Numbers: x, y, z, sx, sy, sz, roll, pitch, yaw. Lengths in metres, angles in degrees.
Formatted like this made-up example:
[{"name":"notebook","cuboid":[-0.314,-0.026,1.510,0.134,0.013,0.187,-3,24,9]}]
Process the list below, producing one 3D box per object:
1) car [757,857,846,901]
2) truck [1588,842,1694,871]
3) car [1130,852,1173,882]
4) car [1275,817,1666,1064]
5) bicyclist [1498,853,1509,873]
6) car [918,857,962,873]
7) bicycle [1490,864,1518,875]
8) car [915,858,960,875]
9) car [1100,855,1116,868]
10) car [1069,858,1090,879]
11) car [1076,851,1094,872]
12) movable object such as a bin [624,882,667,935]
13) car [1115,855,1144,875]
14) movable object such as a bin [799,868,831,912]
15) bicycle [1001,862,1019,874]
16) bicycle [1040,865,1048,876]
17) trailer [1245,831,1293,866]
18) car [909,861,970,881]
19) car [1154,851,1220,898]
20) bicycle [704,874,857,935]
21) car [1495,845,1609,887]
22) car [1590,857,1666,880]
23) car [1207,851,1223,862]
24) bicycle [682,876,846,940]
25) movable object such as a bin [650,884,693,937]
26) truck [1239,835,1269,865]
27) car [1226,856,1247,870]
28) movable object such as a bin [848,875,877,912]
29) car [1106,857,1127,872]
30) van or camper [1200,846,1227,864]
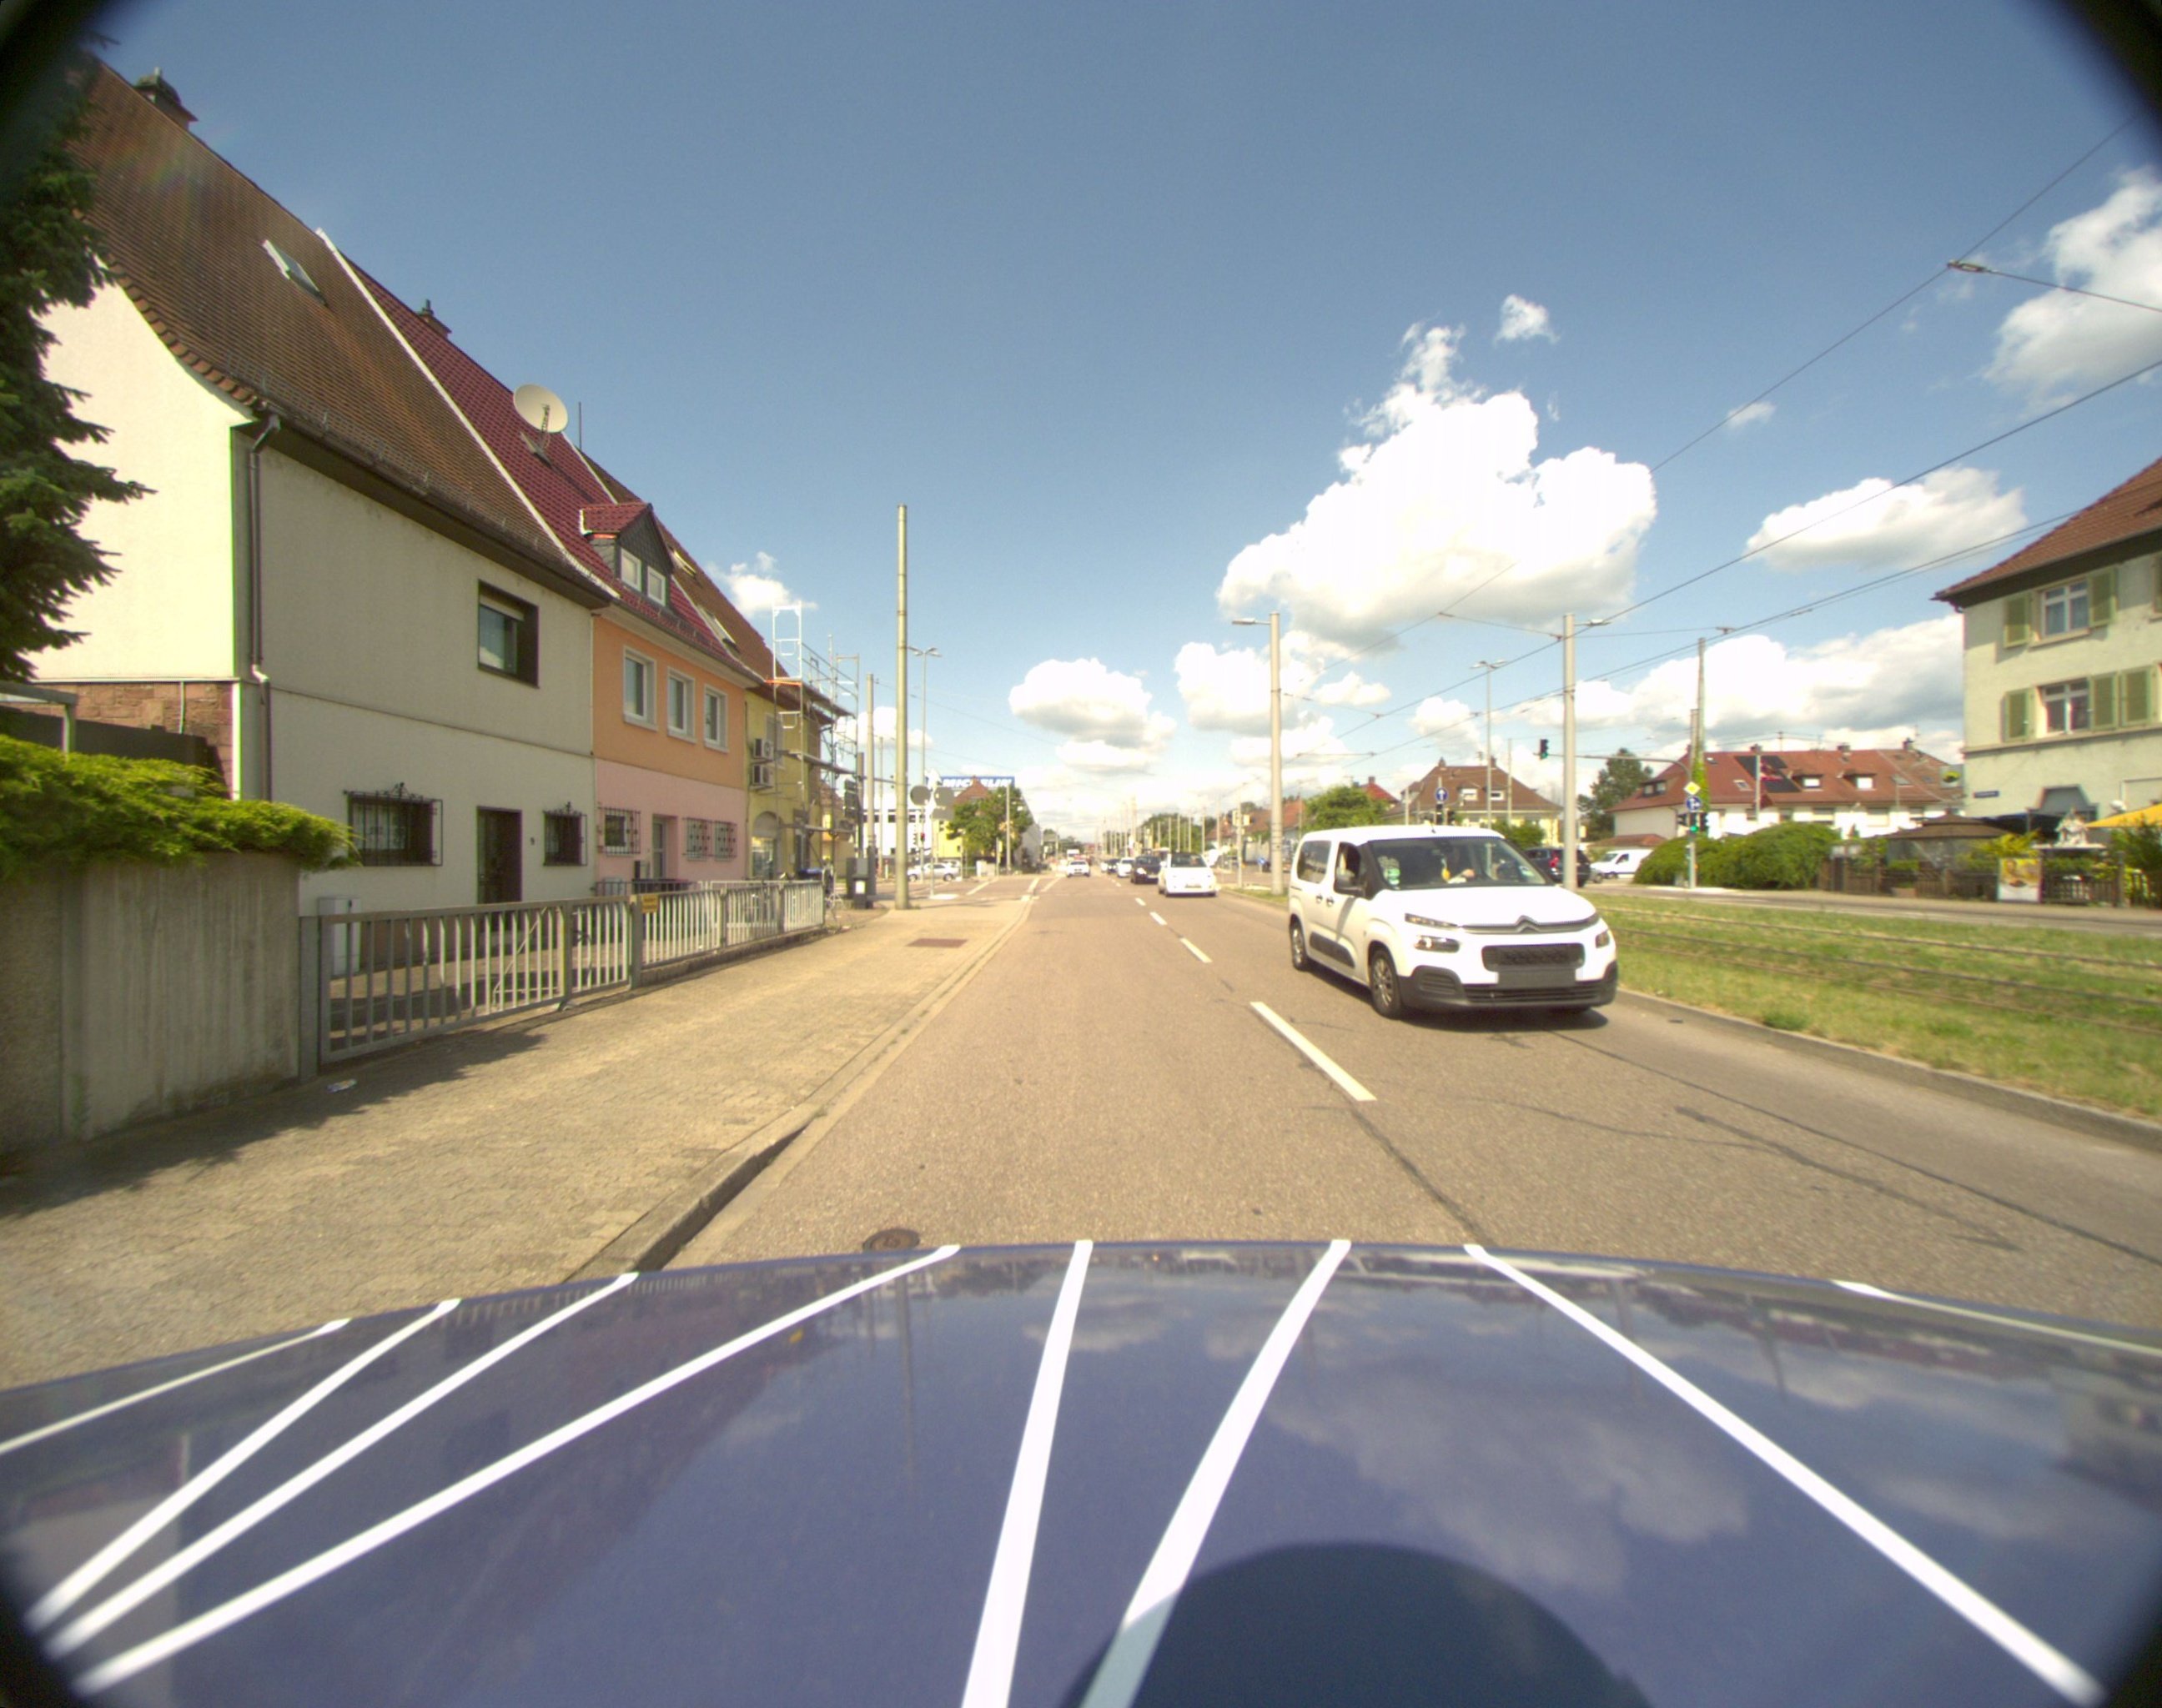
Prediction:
[{"name":"car","cuboid":[-11.224,0.950,30.831,1.998,1.587,4.131,-2,0,1]},{"name":"truck","cuboid":[40.330,0.171,54.816,6.199,1.910,1.690,-2,1,3]},{"name":"car","cuboid":[3.580,0.651,39.020,1.680,1.414,3.557,-2,0,-3]},{"name":"car","cuboid":[3.482,0.638,7.878,1.799,1.804,4.329,-2,0,0]},{"name":"bicyclist","cuboid":[32.470,0.684,58.408,0.501,1.489,0.602,-2,1,2]},{"name":"car","cuboid":[-13.996,1.097,75.685,4.118,1.587,1.799,-1,0,-6]},{"name":"bicycle","cuboid":[32.521,1.190,58.410,1.808,0.830,0.602,-2,1,2]},{"name":"car","cuboid":[-13.763,1.208,73.108,4.118,1.587,1.799,-1,0,-6]},{"name":"car","cuboid":[3.253,0.876,91.548,1.698,1.350,4.498,-2,0,-1]},{"name":"car","cuboid":[-0.168,1.161,63.409,1.664,1.564,3.999,-2,0,-1]},{"name":"car","cuboid":[0.423,0.797,82.051,1.787,2.134,5.168,-2,0,-1]},{"name":"movable object such as a bin","cuboid":[-8.117,1.007,14.169,0.469,0.941,0.558,0,1,0]},{"name":"car","cuboid":[3.522,0.778,56.027,1.698,1.350,4.498,-2,0,-1]},{"name":"movable object such as a bin","cuboid":[-6.966,0.926,19.931,0.512,1.099,0.855,-1,1,1]},{"name":"bicycle","cuboid":[-6.707,1.304,71.838,0.462,1.013,1.759,-1,1,40]},{"name":"bicycle","cuboid":[-3.793,1.653,77.162,0.652,1.111,1.587,-2,1,-6]},{"name":"trailer","cuboid":[22.549,-0.551,91.957,2.605,3.798,12.838,2,-1,0]},{"name":"car","cuboid":[-10.951,1.302,58.696,4.465,1.389,1.724,-1,0,-15]},{"name":"car","cuboid":[3.658,0.672,26.752,1.680,1.495,3.392,-2,0,-3]},{"name":"bicycle","cuboid":[-5.827,0.976,14.815,2.668,1.099,0.786,1,1,0]},{"name":"car","cuboid":[21.006,0.483,34.170,2.020,1.702,4.936,0,0,-1]},{"name":"car","cuboid":[34.870,0.926,48.420,4.476,1.379,1.797,0,1,-22]},{"name":"car","cuboid":[19.964,0.307,113.251,1.799,1.627,4.471,1,0,2]},{"name":"bicycle","cuboid":[-5.835,0.986,14.072,2.733,1.113,0.691,1,1,0]},{"name":"movable object such as a bin","cuboid":[-7.624,1.048,14.162,0.469,0.941,0.558,0,1,0]},{"name":"truck","cuboid":[22.571,-0.446,99.505,2.605,3.798,5.668,2,-1,1]},{"name":"car","cuboid":[20.111,1.156,98.500,1.799,1.804,4.712,0,0,0]},{"name":"movable object such as a bin","cuboid":[-5.750,1.028,20.029,0.512,0.913,0.741,-1,1,1]},{"name":"car","cuboid":[3.494,1.026,75.788,1.698,1.350,4.498,-2,0,-1]},{"name":"van or camper","cuboid":[22.283,0.125,128.193,2.331,2.912,7.749,0,0,-6]}]
